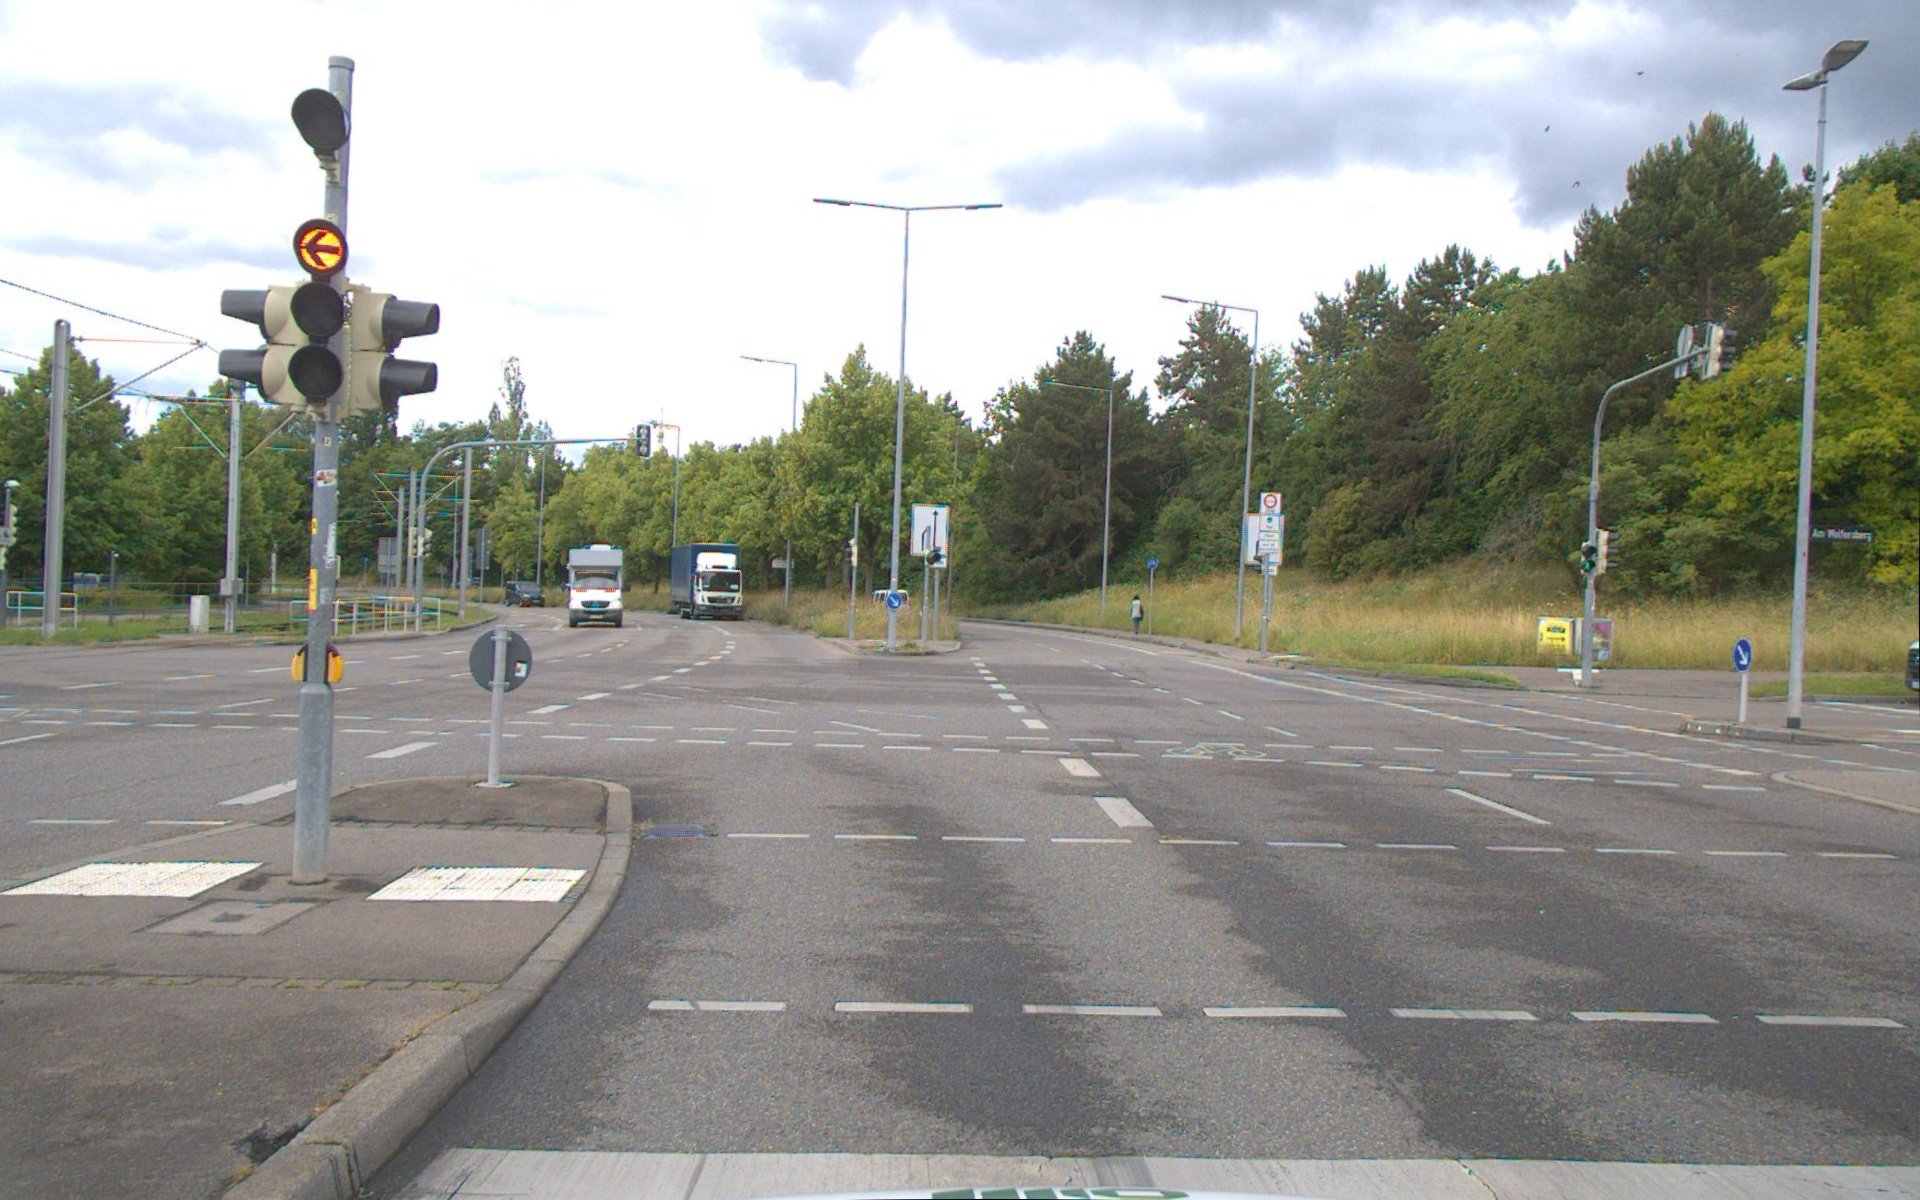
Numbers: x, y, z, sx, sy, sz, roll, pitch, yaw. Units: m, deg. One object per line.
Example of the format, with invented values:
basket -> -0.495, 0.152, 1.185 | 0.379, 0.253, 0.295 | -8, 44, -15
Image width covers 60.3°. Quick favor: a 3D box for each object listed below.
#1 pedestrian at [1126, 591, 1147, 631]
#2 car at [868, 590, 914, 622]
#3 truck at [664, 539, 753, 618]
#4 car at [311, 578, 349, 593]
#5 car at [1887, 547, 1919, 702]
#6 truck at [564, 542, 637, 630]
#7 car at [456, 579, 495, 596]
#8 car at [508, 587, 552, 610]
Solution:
pedestrian -> 7.484, 0.471, 70.137 | 0.797, 1.656, 0.790 | 1, 0, -1
car -> -4.198, 0.375, 100.208 | 1.959, 1.833, 4.823 | 1, 0, -12
truck -> -13.402, -1.055, 87.198 | 2.999, 3.826, 12.757 | 1, 0, -16
car -> -65.270, -1.499, 171.283 | 3.943, 1.573, 1.777 | 1, 0, 35
car -> 20.339, 0.468, 30.087 | 5.772, 2.830, 2.135 | 0, 0, -1
truck -> -13.792, -0.501, 63.809 | 2.075, 3.190, 5.892 | 1, 0, -6
car -> -46.146, -1.223, 157.550 | 3.952, 1.573, 1.774 | 1, 1, 41
car -> -31.310, -0.117, 120.480 | 1.765, 1.471, 4.475 | -1, 3, -34
